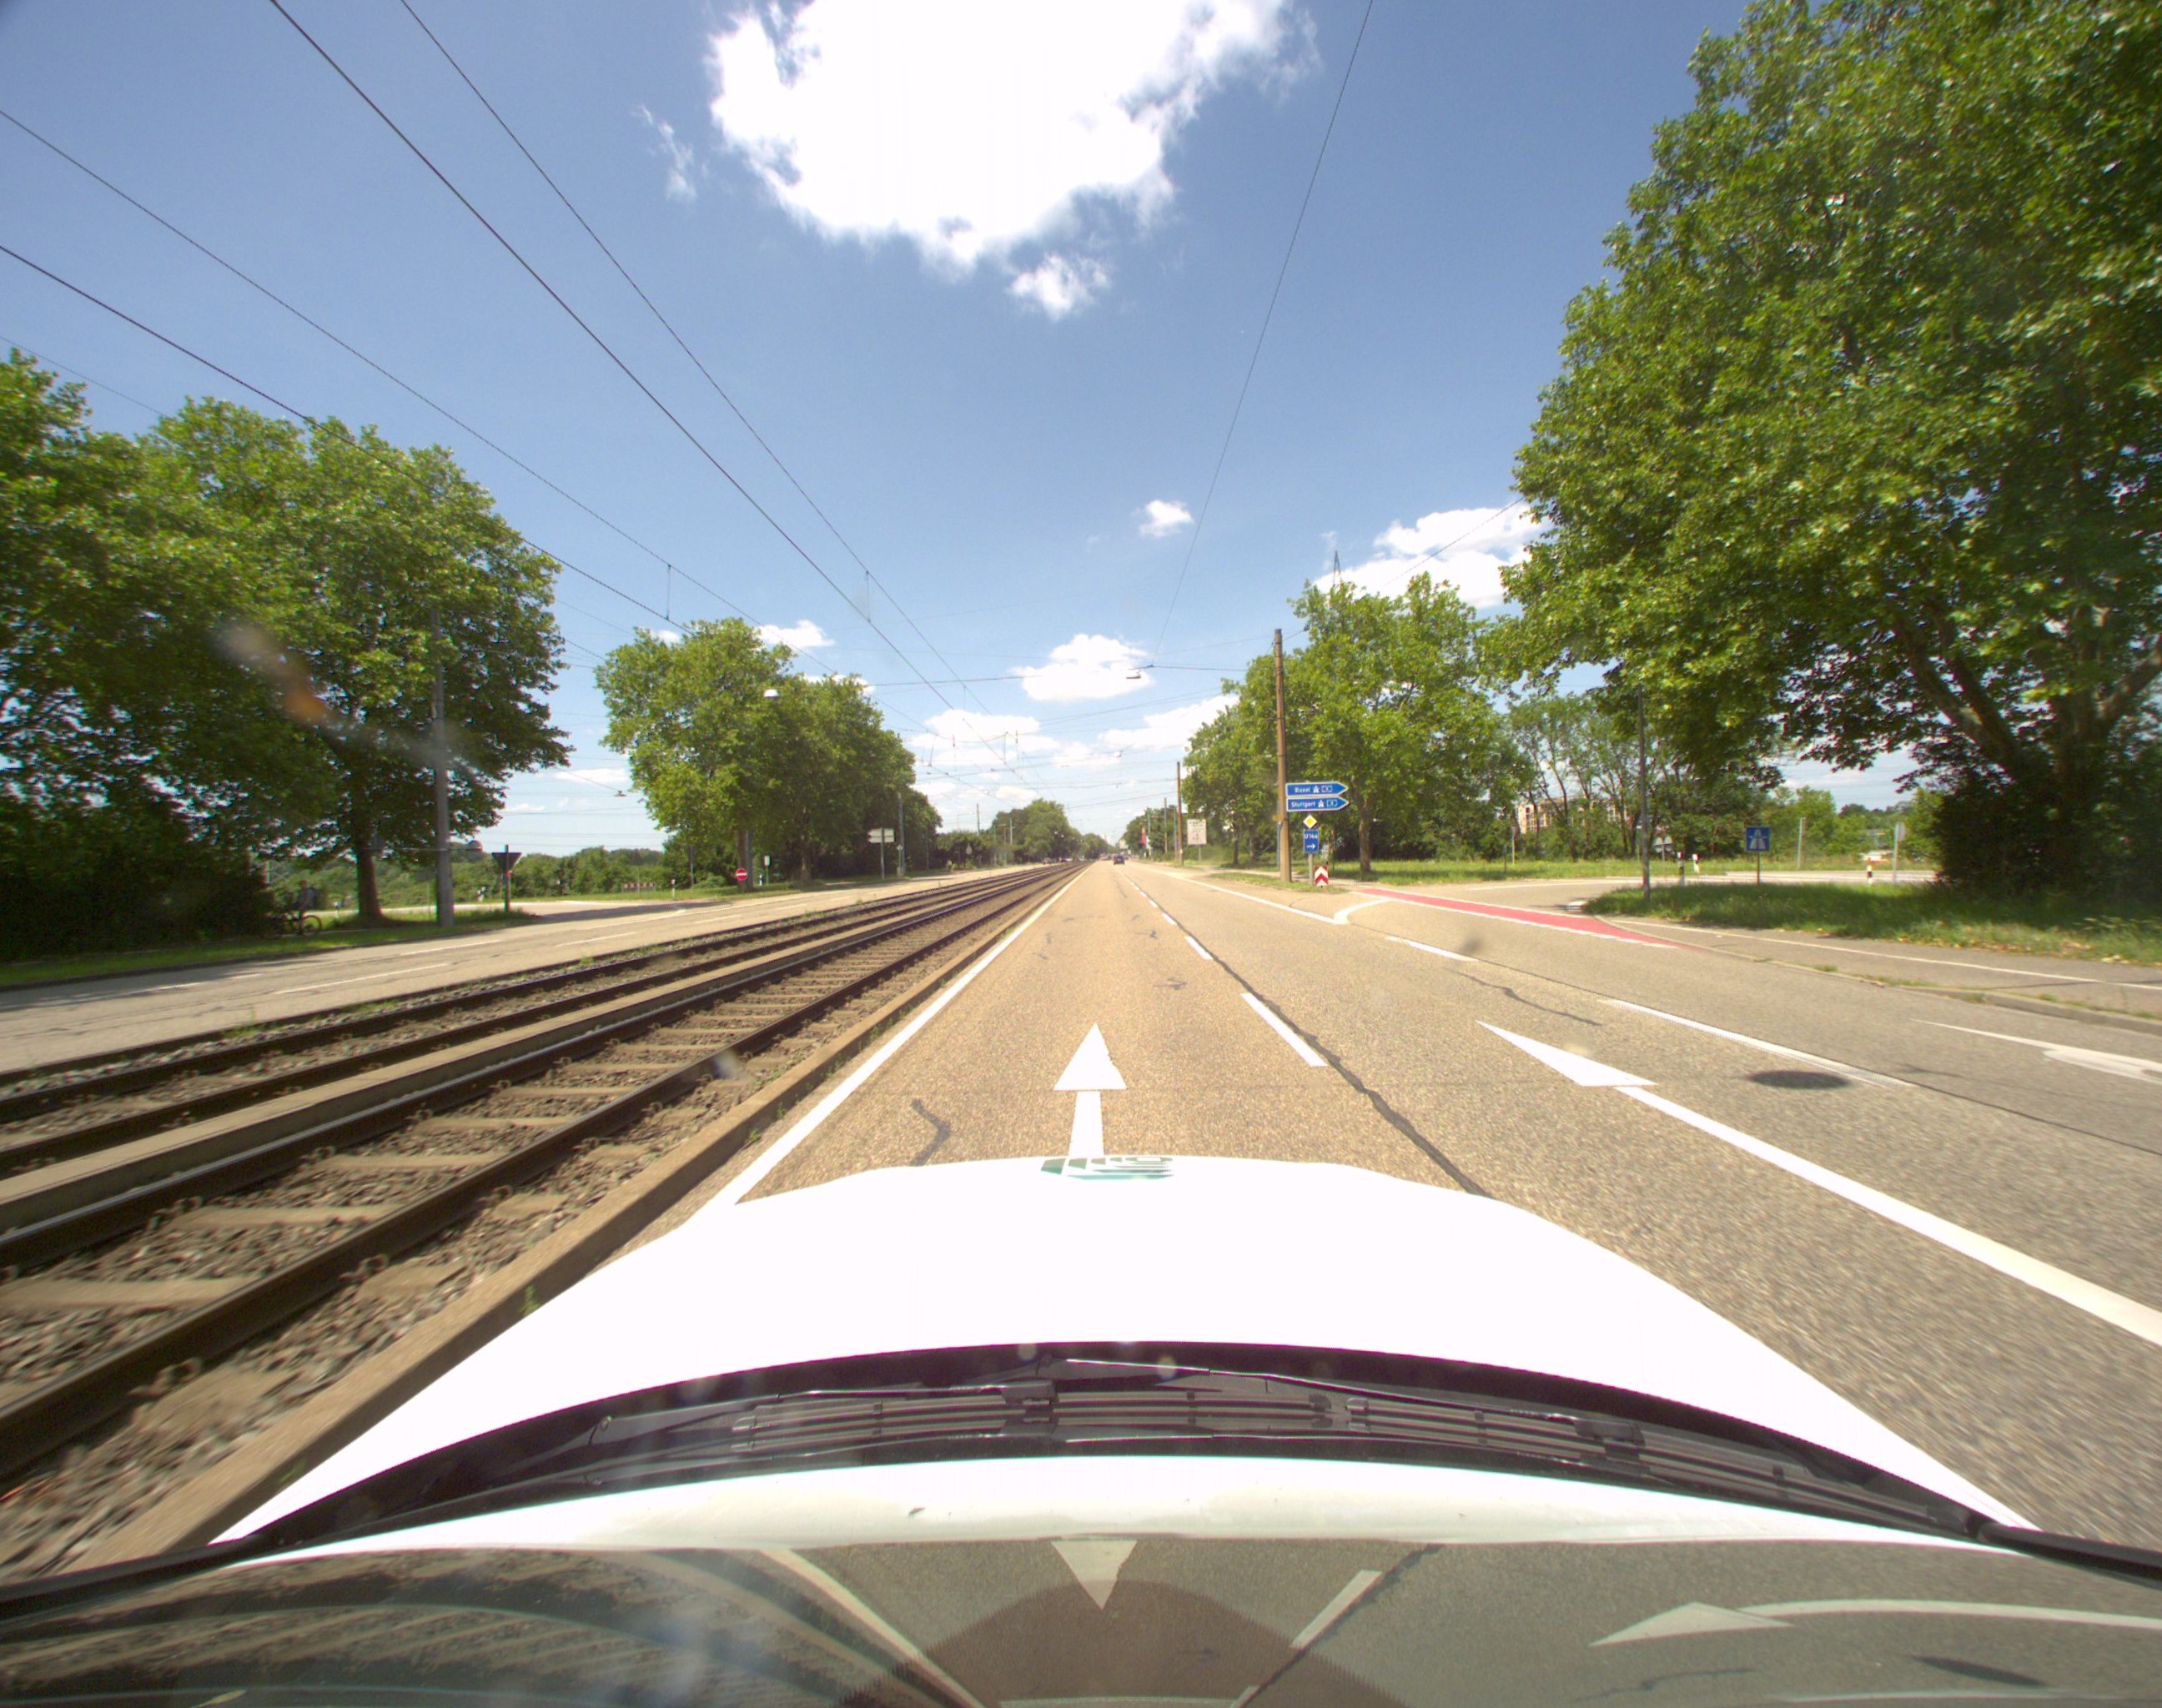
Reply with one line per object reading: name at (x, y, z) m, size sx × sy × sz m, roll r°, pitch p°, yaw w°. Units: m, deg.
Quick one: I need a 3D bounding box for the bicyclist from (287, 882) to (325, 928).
bicyclist at (-25.215, 1.652, 26.497) m, size 0.581 × 1.429 × 0.648 m, roll -2°, pitch 0°, yaw 14°

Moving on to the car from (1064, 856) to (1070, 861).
car at (-4.294, 1.501, 247.502) m, size 1.709 × 1.428 × 3.902 m, roll -2°, pitch 0°, yaw 2°

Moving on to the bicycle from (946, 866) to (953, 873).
bicycle at (-17.039, 2.023, 105.673) m, size 0.513 × 0.857 × 1.933 m, roll -2°, pitch 0°, yaw 4°

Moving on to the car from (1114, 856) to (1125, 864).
car at (6.366, 0.999, 134.744) m, size 1.581 × 1.343 × 3.272 m, roll -2°, pitch 0°, yaw 0°

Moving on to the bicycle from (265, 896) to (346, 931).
bicycle at (-25.204, 1.916, 26.505) m, size 0.726 × 0.988 × 1.767 m, roll -2°, pitch 0°, yaw 14°

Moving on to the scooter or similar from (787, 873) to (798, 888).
scooter or similar at (-20.751, 1.917, 58.512) m, size 0.297 × 1.022 × 0.999 m, roll 1°, pitch 0°, yaw 9°

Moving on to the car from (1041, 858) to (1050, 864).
car at (-8.574, 1.790, 196.222) m, size 1.868 × 1.332 × 3.919 m, roll -3°, pitch 0°, yaw 2°

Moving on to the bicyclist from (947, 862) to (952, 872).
bicyclist at (-17.060, 1.654, 105.611) m, size 0.452 × 1.272 × 0.398 m, roll -2°, pitch 0°, yaw 4°
